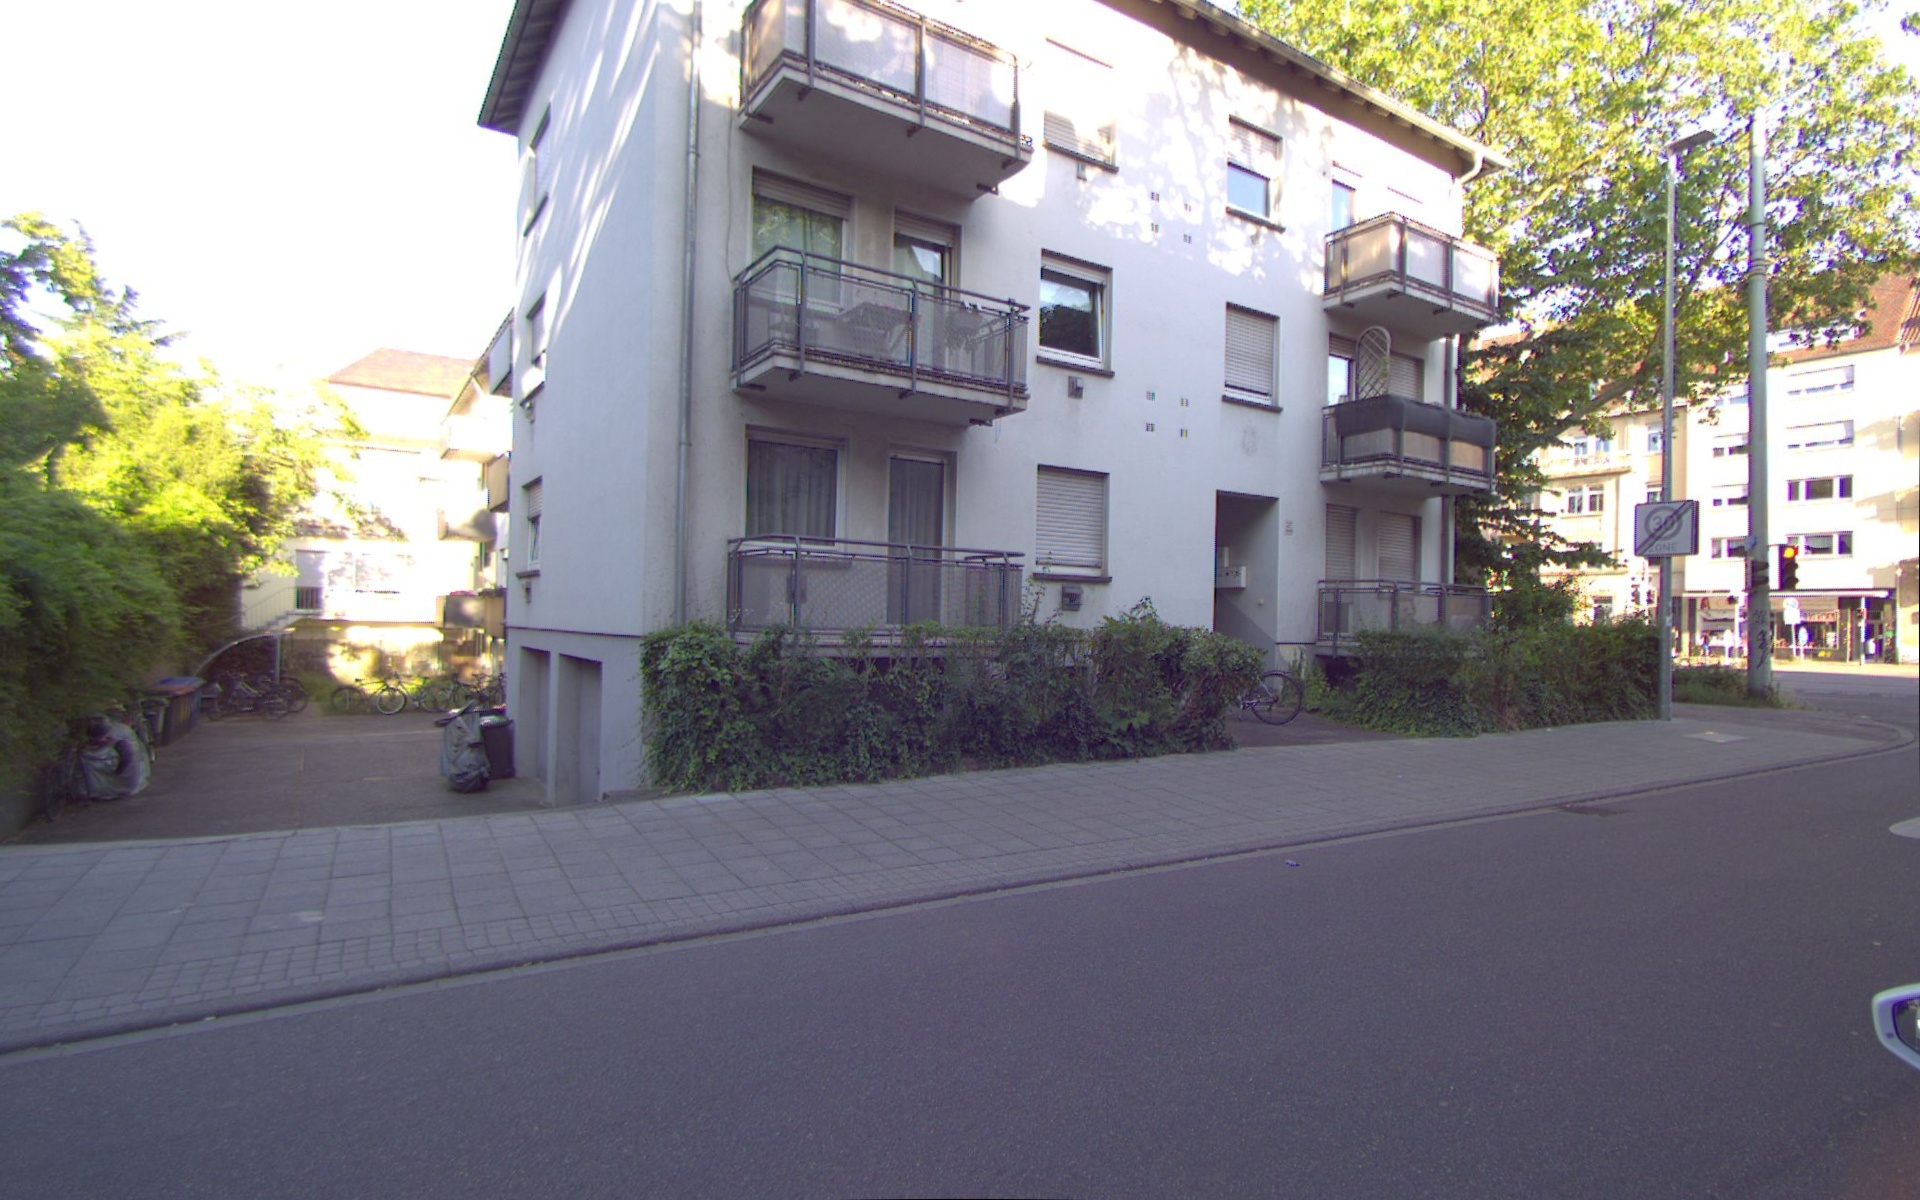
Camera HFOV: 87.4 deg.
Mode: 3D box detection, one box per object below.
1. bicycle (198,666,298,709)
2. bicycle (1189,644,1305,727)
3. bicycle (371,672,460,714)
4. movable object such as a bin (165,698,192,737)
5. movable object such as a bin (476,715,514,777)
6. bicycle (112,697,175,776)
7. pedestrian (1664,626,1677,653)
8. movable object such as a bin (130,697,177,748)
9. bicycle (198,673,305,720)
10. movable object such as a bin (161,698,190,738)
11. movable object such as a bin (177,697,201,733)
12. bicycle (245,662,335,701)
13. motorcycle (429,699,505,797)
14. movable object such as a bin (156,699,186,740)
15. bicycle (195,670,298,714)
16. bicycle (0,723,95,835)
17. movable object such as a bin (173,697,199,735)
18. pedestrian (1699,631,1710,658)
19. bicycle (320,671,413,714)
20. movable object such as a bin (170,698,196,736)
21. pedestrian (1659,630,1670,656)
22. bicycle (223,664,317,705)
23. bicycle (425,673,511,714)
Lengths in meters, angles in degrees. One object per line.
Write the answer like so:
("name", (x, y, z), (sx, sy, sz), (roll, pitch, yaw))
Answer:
("bicycle", (-18.859, 2.324, 26.660), (2.045, 1.034, 0.611), (4, 0, -30))
("bicycle", (3.886, 1.141, 13.620), (1.433, 0.988, 0.407), (3, 0, 21))
("bicycle", (-14.724, 2.520, 27.182), (2.045, 1.034, 0.637), (4, 0, -30))
("movable object such as a bin", (-16.021, 2.408, 20.600), (0.371, 0.768, 0.361), (2, -4, -30))
("movable object such as a bin", (-7.499, 2.339, 16.189), (0.428, 0.899, 0.720), (1, -2, -34))
("bicycle", (-13.220, 2.178, 16.298), (0.509, 1.033, 1.922), (3, -1, -32))
("pedestrian", (40.804, 2.250, 57.710), (0.558, 1.531, 0.499), (0, -1, 41))
("movable object such as a bin", (-14.949, 2.259, 18.625), (0.570, 0.891, 0.491), (2, -4, -30))
("bicycle", (-17.274, 2.364, 24.555), (2.045, 1.034, 0.637), (4, 0, -30))
("movable object such as a bin", (-15.821, 2.373, 20.256), (0.377, 0.784, 0.361), (2, -4, -30))
("movable object such as a bin", (-16.601, 2.470, 21.626), (0.342, 0.768, 0.361), (2, -4, -30))
("bicycle", (-19.017, 2.328, 28.569), (2.045, 1.034, 0.564), (4, 0, -30))
("motorcycle", (-7.396, 2.176, 15.029), (0.751, 1.268, 1.577), (1, -2, -36))
("movable object such as a bin", (-15.628, 2.354, 19.899), (0.393, 0.784, 0.361), (2, -4, -30))
("bicycle", (-18.026, 2.345, 25.434), (2.045, 1.034, 0.568), (4, 0, -30))
("bicycle", (-10.970, 2.104, 12.088), (0.509, 1.033, 1.922), (3, -1, -32))
("movable object such as a bin", (-16.401, 2.451, 21.289), (0.362, 0.768, 0.361), (2, -4, -30))
("pedestrian", (42.186, 2.505, 56.950), (0.467, 1.531, 0.429), (0, -1, 41))
("bicycle", (-15.690, 2.461, 26.611), (2.045, 1.034, 0.637), (4, 0, -30))
("movable object such as a bin", (-16.207, 2.433, 20.949), (0.362, 0.768, 0.361), (2, -4, -30))
("pedestrian", (41.228, 2.515, 58.808), (0.501, 1.531, 0.535), (0, -1, 33))
("bicycle", (-18.994, 2.325, 27.697), (2.045, 1.034, 0.611), (4, 0, -30))
("bicycle", (-13.620, 2.590, 27.829), (2.045, 1.034, 0.637), (4, 0, -30))
